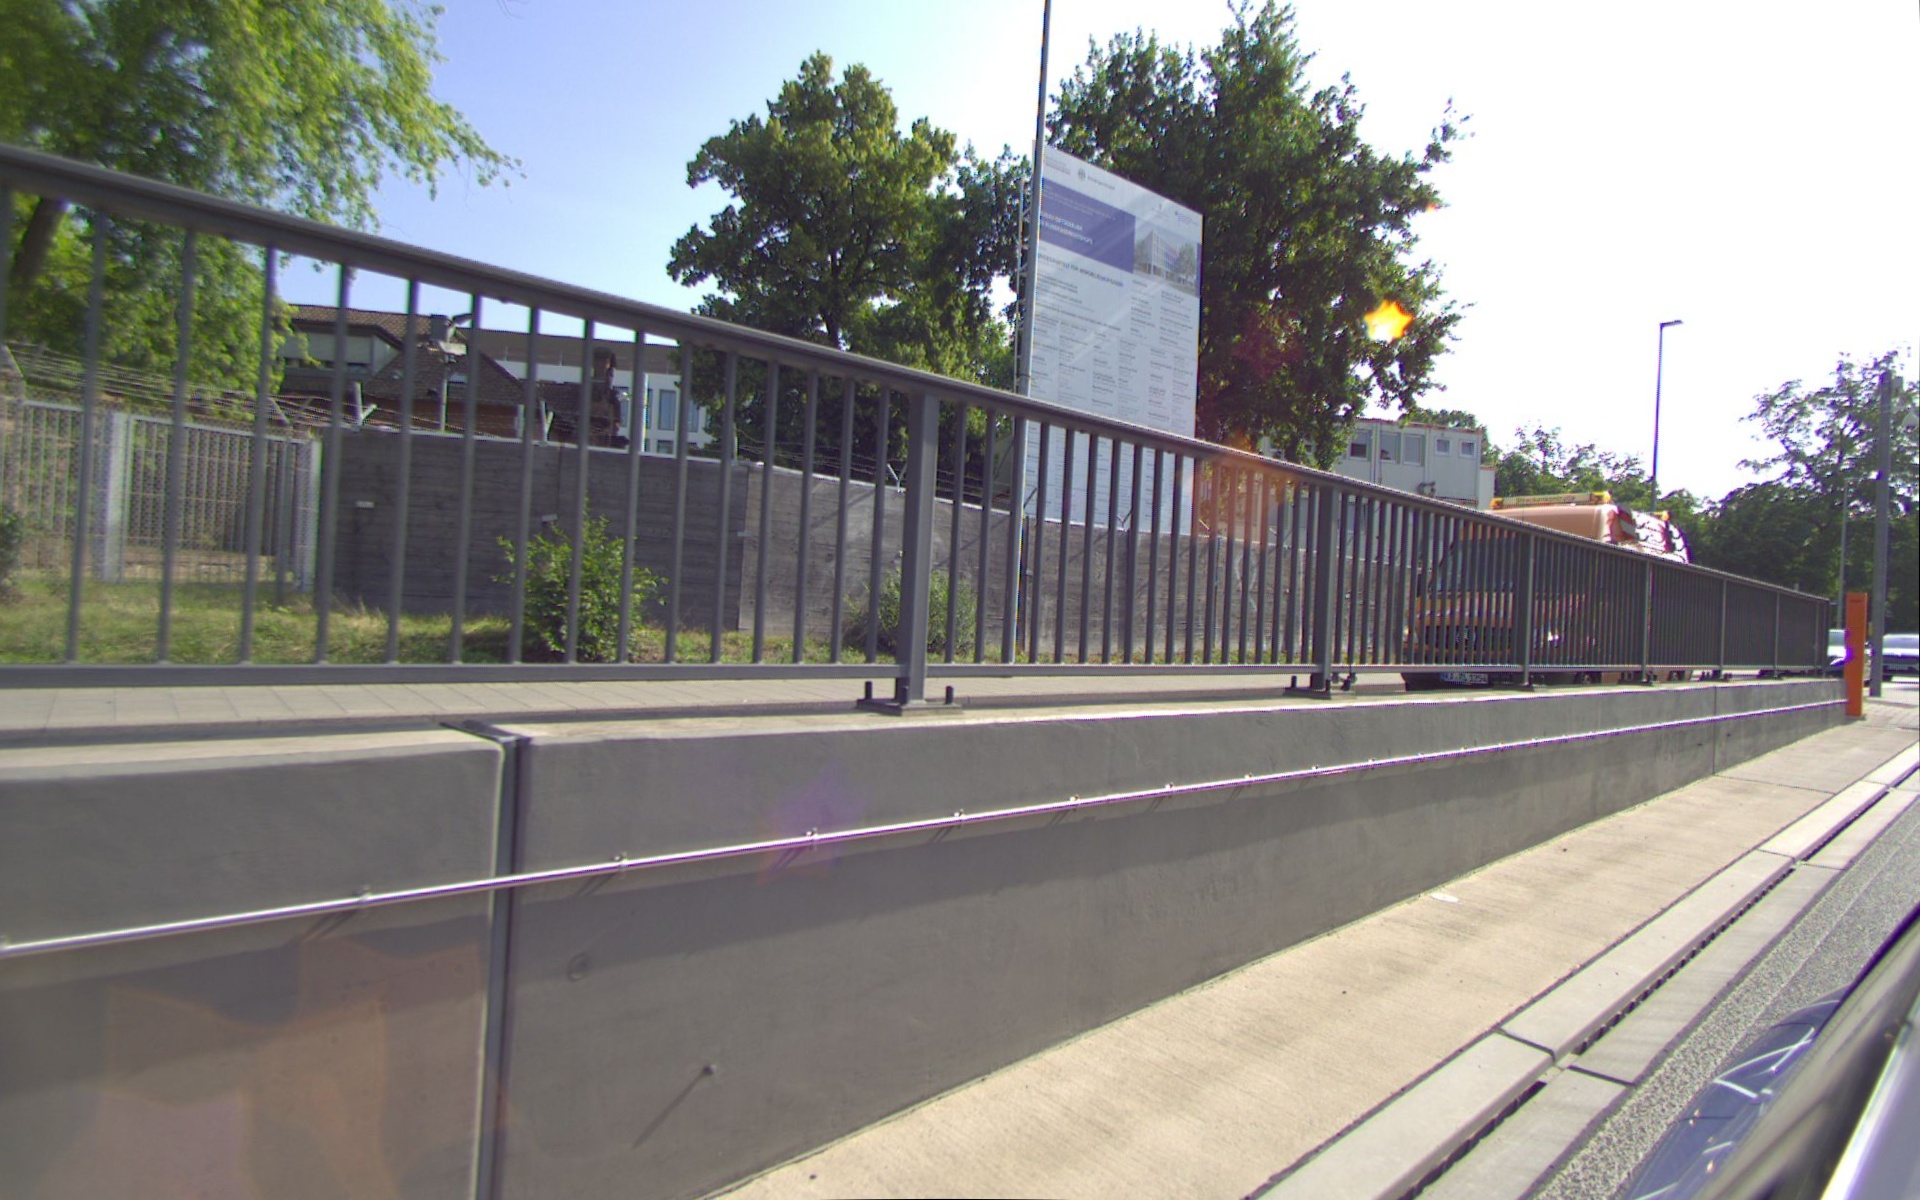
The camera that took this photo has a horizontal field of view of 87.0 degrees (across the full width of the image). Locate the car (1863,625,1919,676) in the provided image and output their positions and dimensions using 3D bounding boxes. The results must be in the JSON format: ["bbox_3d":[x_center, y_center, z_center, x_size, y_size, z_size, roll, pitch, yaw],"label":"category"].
[{"bbox_3d":[31.676,1.674,33.591,4.173,1.591,1.896,3,-2,-39],"label":"car"}]

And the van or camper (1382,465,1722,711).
[{"bbox_3d":[7.787,-0.032,12.977,5.955,2.504,1.989,2,-3,-41],"label":"van or camper"}]
